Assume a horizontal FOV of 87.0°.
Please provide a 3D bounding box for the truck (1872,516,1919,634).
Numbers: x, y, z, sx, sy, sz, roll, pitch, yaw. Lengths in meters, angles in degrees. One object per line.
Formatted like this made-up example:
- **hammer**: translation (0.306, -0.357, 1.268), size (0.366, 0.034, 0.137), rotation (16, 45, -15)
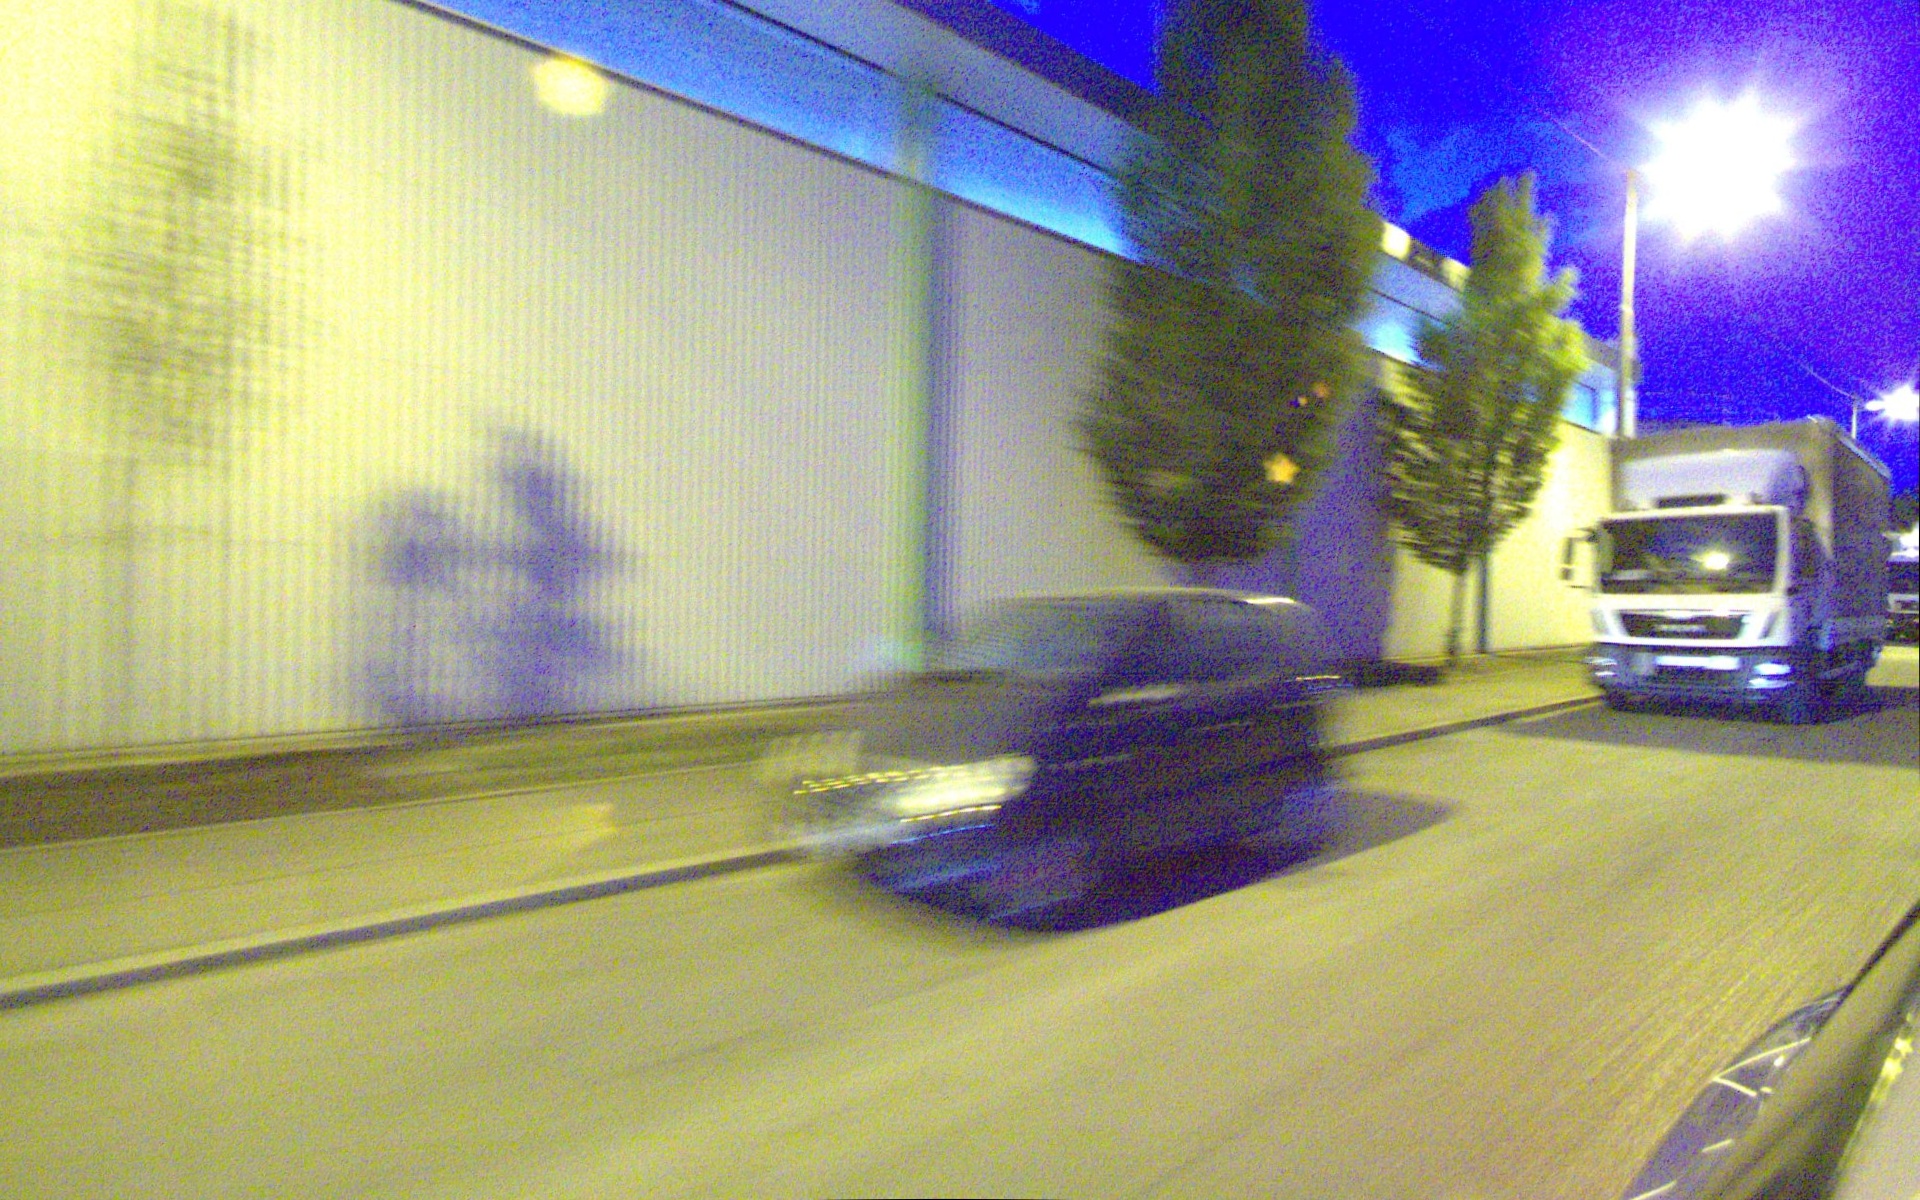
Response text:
- **truck**: translation (37.032, -0.880, 37.623), size (10.154, 4.032, 2.838), rotation (-1, 3, -38)

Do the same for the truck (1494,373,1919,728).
- **truck**: translation (12.481, -0.705, 16.220), size (10.164, 4.032, 3.527), rotation (-1, 3, -42)

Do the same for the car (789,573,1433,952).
- **car**: translation (1.073, 0.644, 6.164), size (3.751, 1.537, 1.857), rotation (-1, 3, -40)
